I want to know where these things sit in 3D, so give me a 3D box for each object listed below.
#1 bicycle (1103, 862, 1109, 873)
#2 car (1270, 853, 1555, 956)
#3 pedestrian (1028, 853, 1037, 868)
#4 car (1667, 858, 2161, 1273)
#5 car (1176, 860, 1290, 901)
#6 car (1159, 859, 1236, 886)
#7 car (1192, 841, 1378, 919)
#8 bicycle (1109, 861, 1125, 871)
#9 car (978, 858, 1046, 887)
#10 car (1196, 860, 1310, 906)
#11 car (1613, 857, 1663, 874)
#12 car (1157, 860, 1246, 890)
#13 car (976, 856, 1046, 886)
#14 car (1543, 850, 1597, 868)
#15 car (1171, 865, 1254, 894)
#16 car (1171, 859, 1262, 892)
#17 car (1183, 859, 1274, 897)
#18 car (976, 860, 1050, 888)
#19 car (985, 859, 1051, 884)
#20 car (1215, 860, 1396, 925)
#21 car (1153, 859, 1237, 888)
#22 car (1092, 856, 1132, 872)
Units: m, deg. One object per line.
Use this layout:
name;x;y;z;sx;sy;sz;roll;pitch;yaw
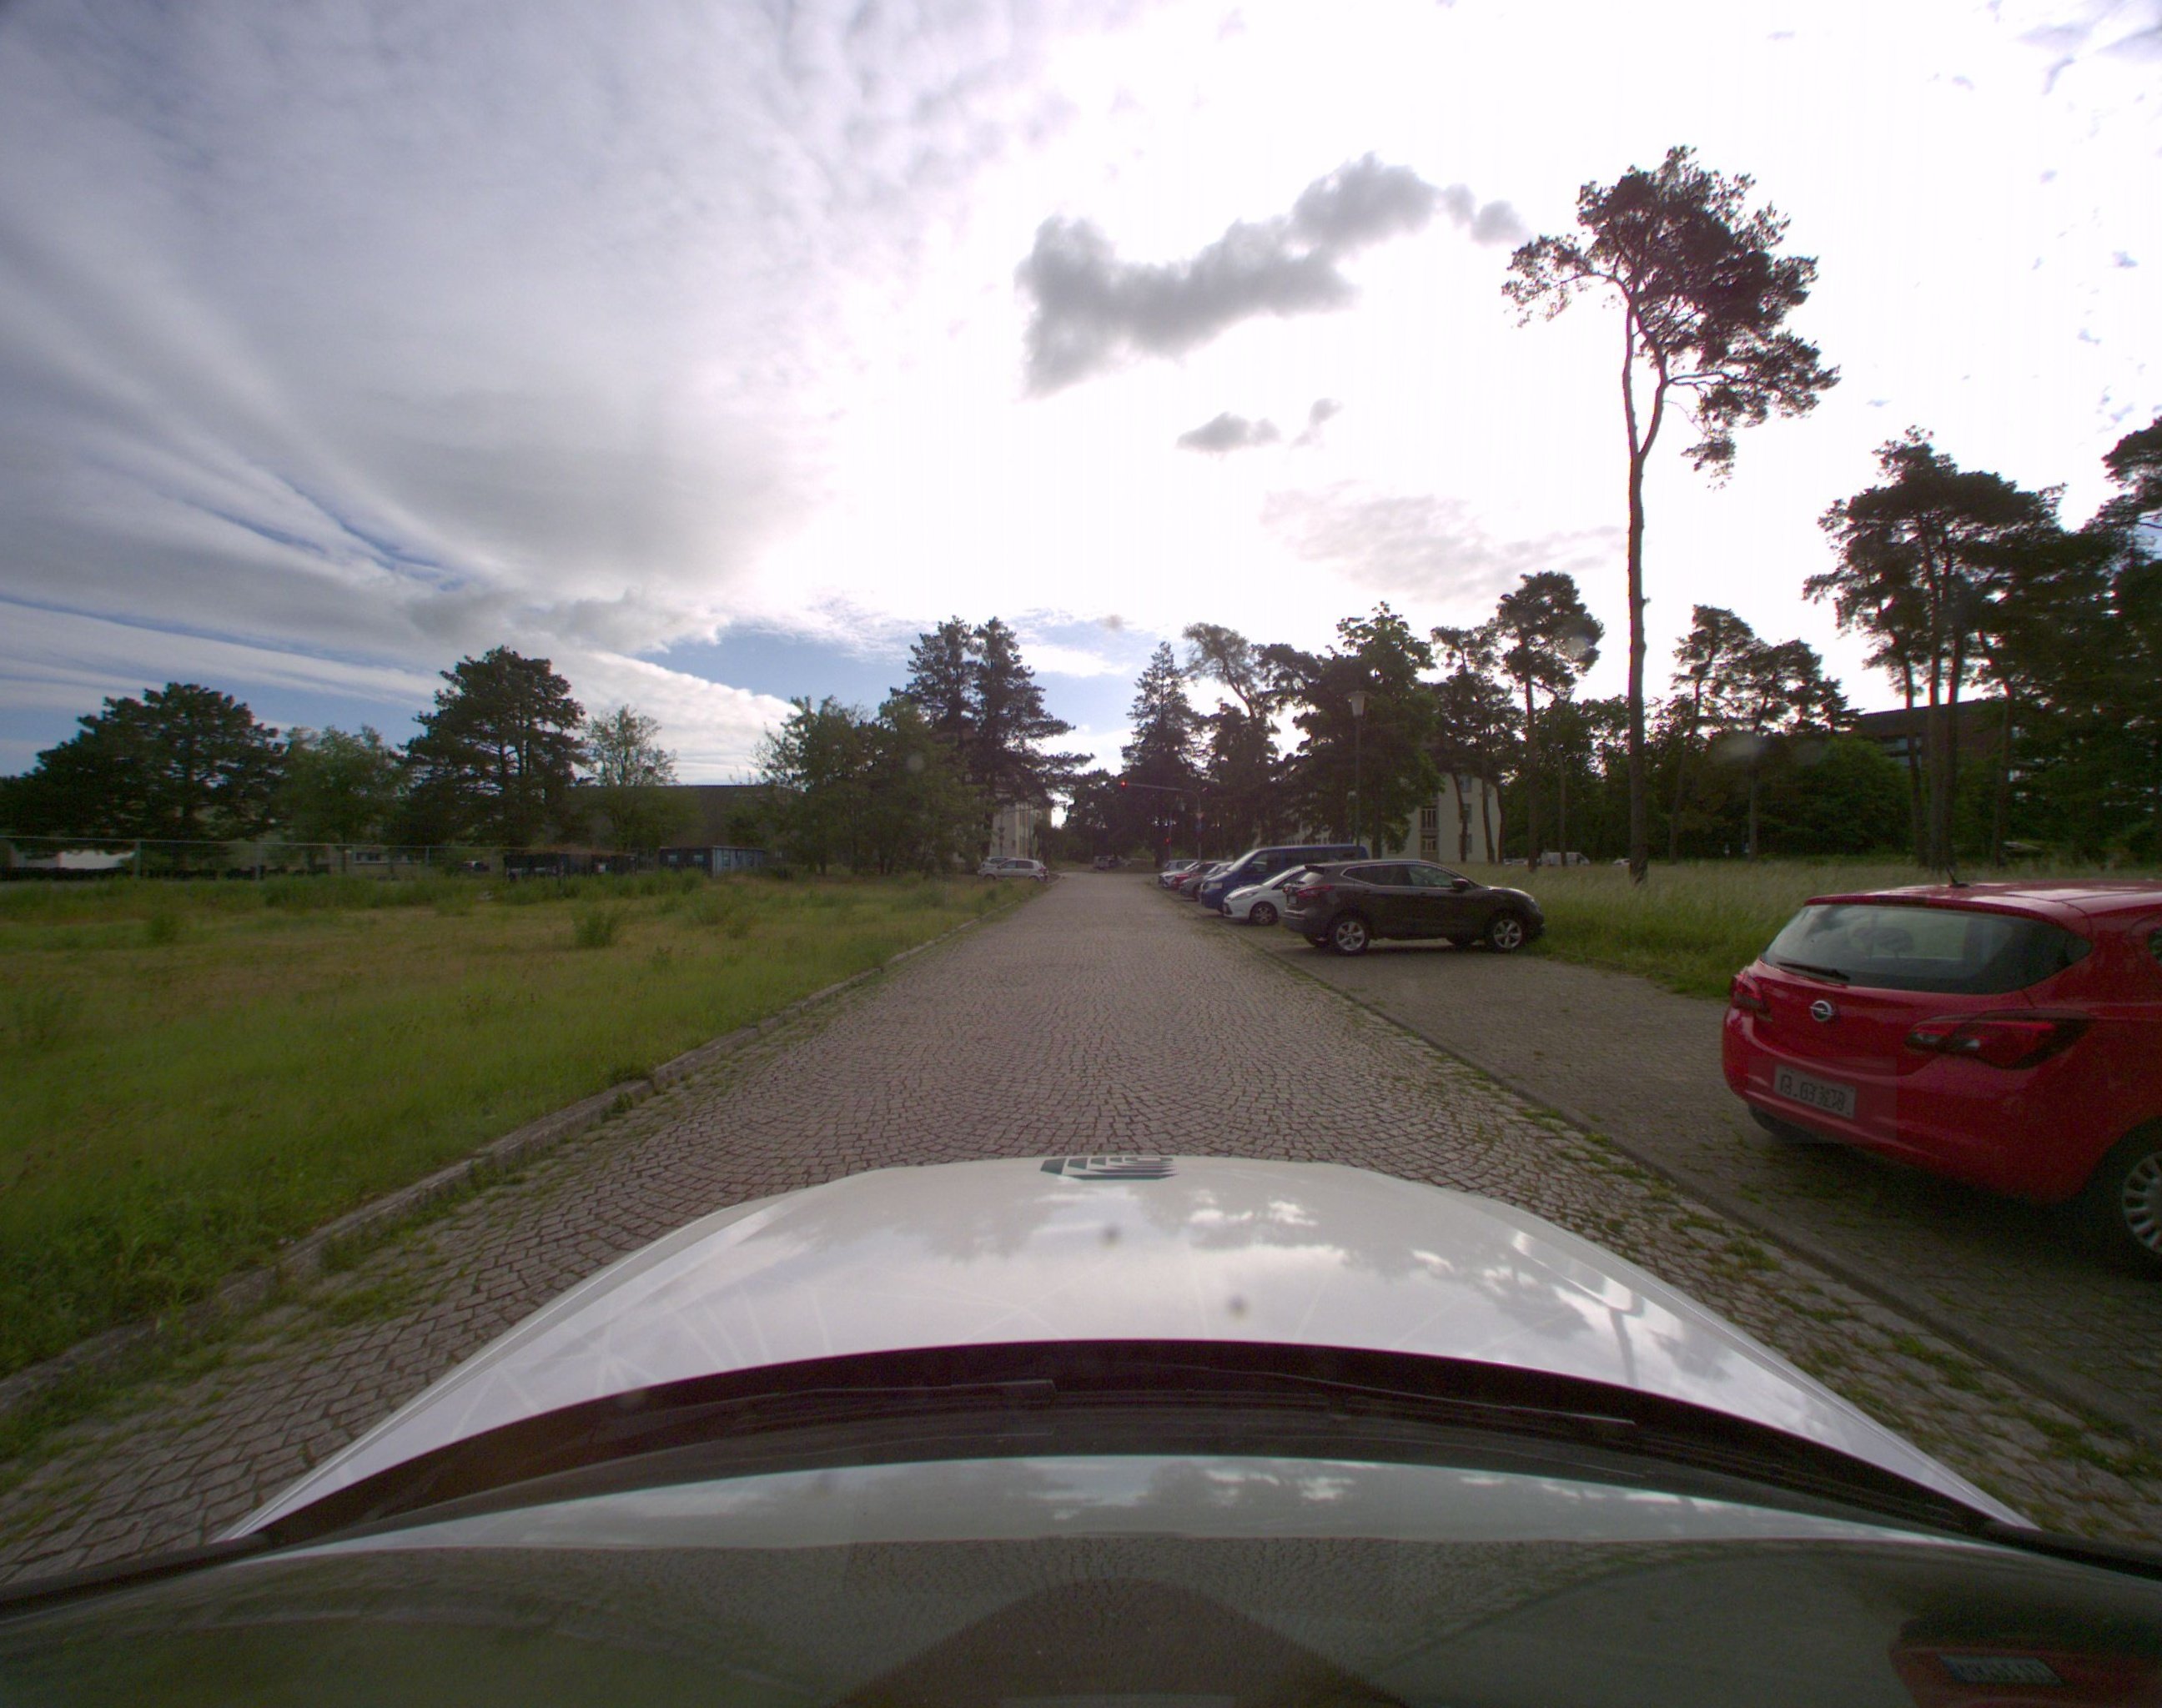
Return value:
bicycle;2.913;1.559;94.448;0.660;1.171;1.888;1;-1;2
car;5.650;0.827;14.281;4.191;1.595;1.952;-1;0;-1
pedestrian;-6.682;0.869;111.723;1.070;1.959;1.121;1;-1;1
car;5.449;0.785;3.975;3.911;1.496;1.784;-1;0;-1
car;5.790;0.988;31.398;4.115;1.447;1.766;-1;0;1
car;6.668;1.038;46.909;4.127;1.463;1.631;-1;0;-4
car;5.689;0.709;23.186;4.781;2.004;1.965;-1;0;-1
bicycle;4.386;1.488;99.065;1.878;1.171;0.664;1;-1;-5
car;-3.878;1.023;46.111;3.710;1.481;1.672;2;0;-2
car;5.955;0.981;28.490;3.640;1.479;1.766;-1;0;1
car;60.528;1.254;88.584;4.116;1.804;1.901;1;-1;3
car;6.113;1.046;41.594;4.180;1.437;1.751;-1;0;-6
car;-4.408;1.053;51.520;4.290;1.732;1.650;-1;0;-4
car;59.637;0.645;99.338;5.280;2.019;2.106;1;-1;2
car;5.906;1.136;36.890;3.572;1.223;1.629;-1;0;2
car;6.463;1.014;39.227;4.092;1.476;1.684;-1;0;-1
car;6.163;0.978;34.261;3.493;1.487;1.743;-1;0;0
car;-4.044;1.171;48.709;4.291;1.554;1.809;-1;0;-5
car;-4.158;1.153;53.971;4.291;1.554;1.809;-1;0;-5
car;5.604;0.943;20.639;4.087;1.479;1.720;-1;0;-2
car;6.201;1.043;44.361;4.228;1.479;1.704;-1;0;-10
car;4.325;1.400;113.876;5.378;2.101;2.170;0;-1;-11
